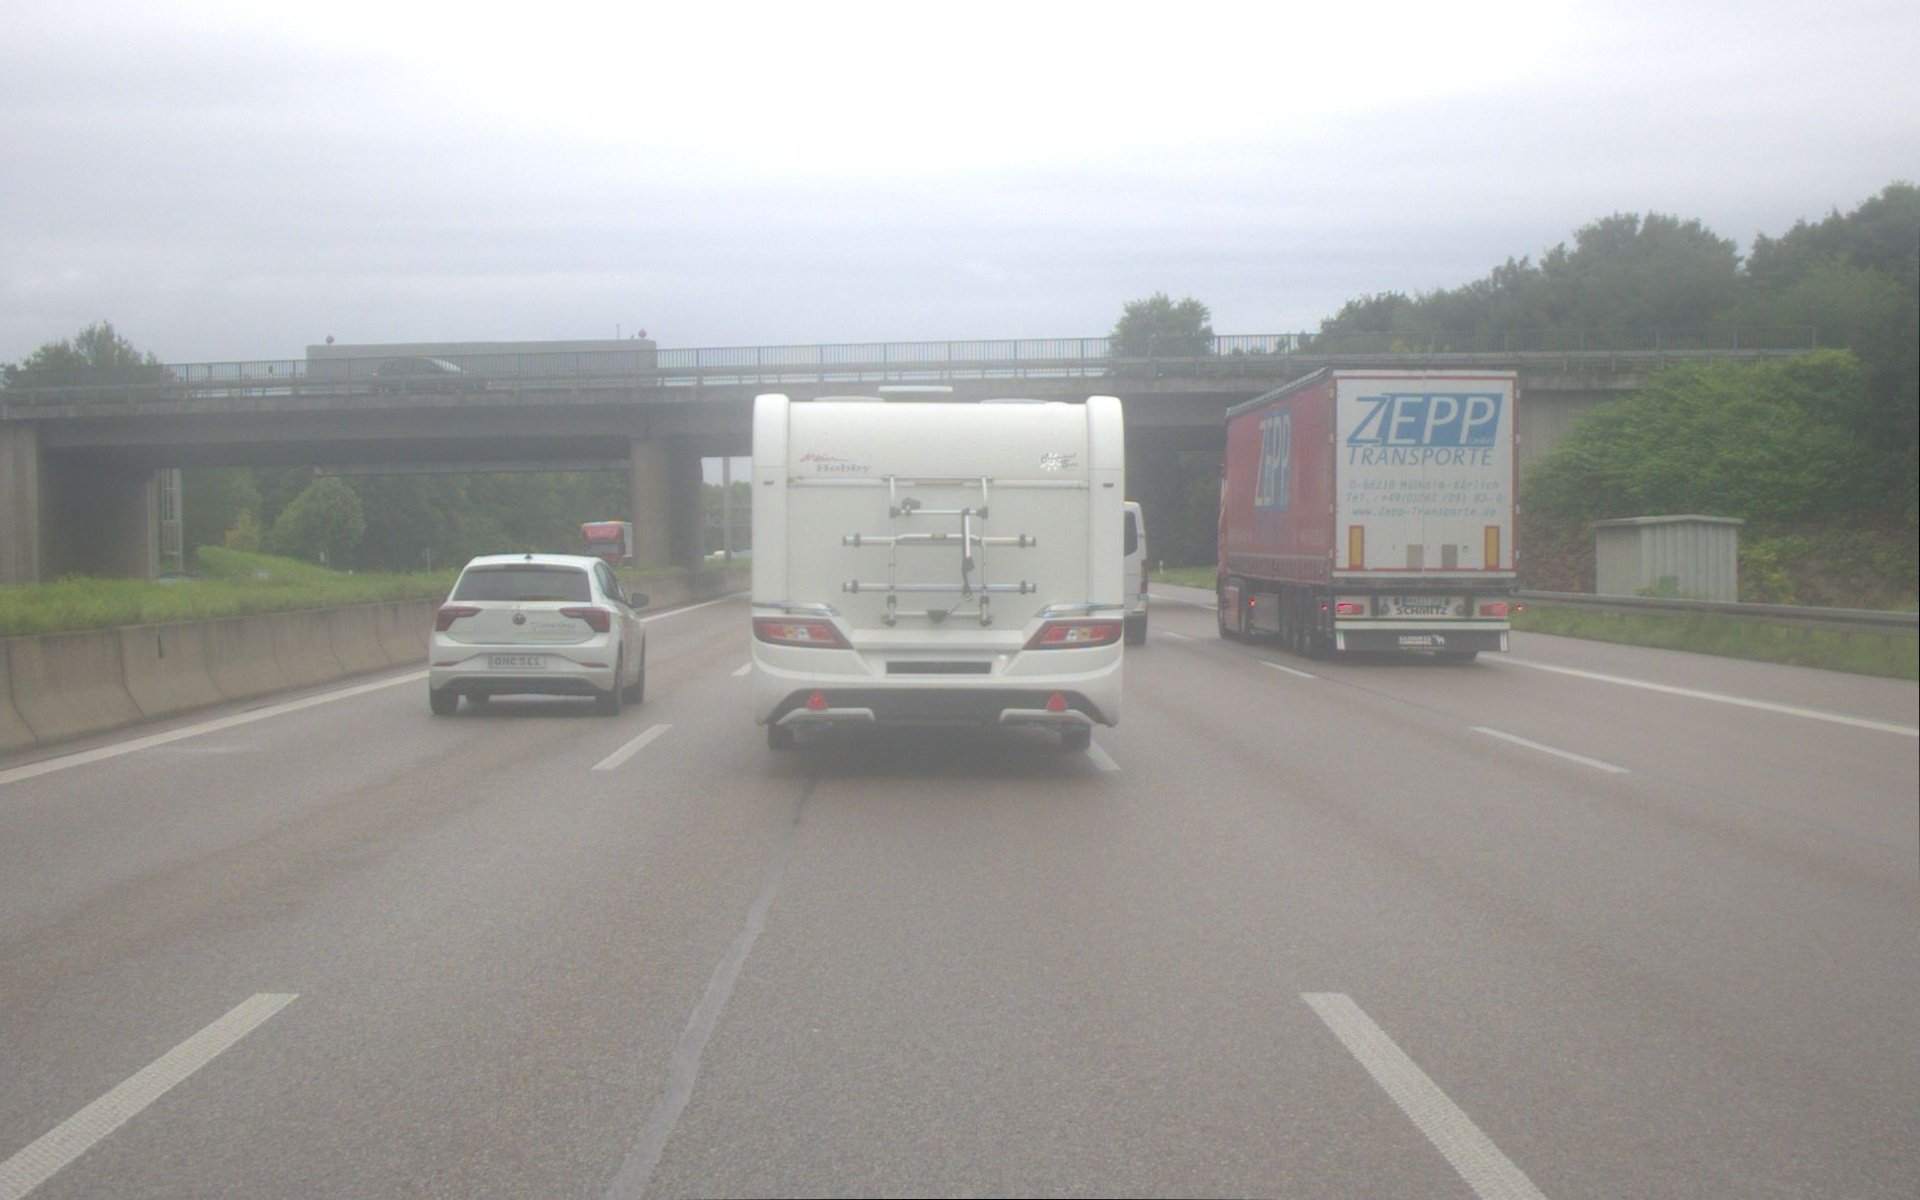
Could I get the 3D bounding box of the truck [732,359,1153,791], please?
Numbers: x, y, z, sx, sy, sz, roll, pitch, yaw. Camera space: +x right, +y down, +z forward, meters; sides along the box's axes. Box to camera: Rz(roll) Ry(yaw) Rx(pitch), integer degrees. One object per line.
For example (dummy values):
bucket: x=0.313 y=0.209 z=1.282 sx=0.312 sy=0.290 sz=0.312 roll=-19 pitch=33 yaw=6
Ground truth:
truck: x=-0.158 y=-0.183 z=24.629 sx=2.661 sy=2.733 sz=5.078 roll=1 pitch=0 yaw=-1

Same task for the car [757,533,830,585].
car: x=-5.324 y=-1.310 z=110.214 sx=1.993 sy=1.594 sz=5.123 roll=1 pitch=1 yaw=1

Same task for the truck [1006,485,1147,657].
truck: x=1.926 y=-0.496 z=58.399 sx=2.053 sy=2.760 sz=5.549 roll=1 pitch=0 yaw=-1

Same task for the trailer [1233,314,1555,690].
trailer: x=6.192 y=-1.347 z=51.261 sx=3.100 sy=4.905 sz=11.791 roll=1 pitch=1 yaw=-1

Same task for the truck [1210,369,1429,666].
truck: x=6.100 y=-1.381 z=59.236 sx=3.048 sy=4.823 sz=5.850 roll=1 pitch=0 yaw=0

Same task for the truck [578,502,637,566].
truck: x=-22.187 y=-4.163 z=216.878 sx=2.693 sy=3.838 sz=10.111 roll=-1 pitch=1 yaw=0

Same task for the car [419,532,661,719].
car: x=-3.831 y=0.178 z=32.046 sx=1.753 sy=1.612 sz=4.664 roll=0 pitch=1 yaw=-1
